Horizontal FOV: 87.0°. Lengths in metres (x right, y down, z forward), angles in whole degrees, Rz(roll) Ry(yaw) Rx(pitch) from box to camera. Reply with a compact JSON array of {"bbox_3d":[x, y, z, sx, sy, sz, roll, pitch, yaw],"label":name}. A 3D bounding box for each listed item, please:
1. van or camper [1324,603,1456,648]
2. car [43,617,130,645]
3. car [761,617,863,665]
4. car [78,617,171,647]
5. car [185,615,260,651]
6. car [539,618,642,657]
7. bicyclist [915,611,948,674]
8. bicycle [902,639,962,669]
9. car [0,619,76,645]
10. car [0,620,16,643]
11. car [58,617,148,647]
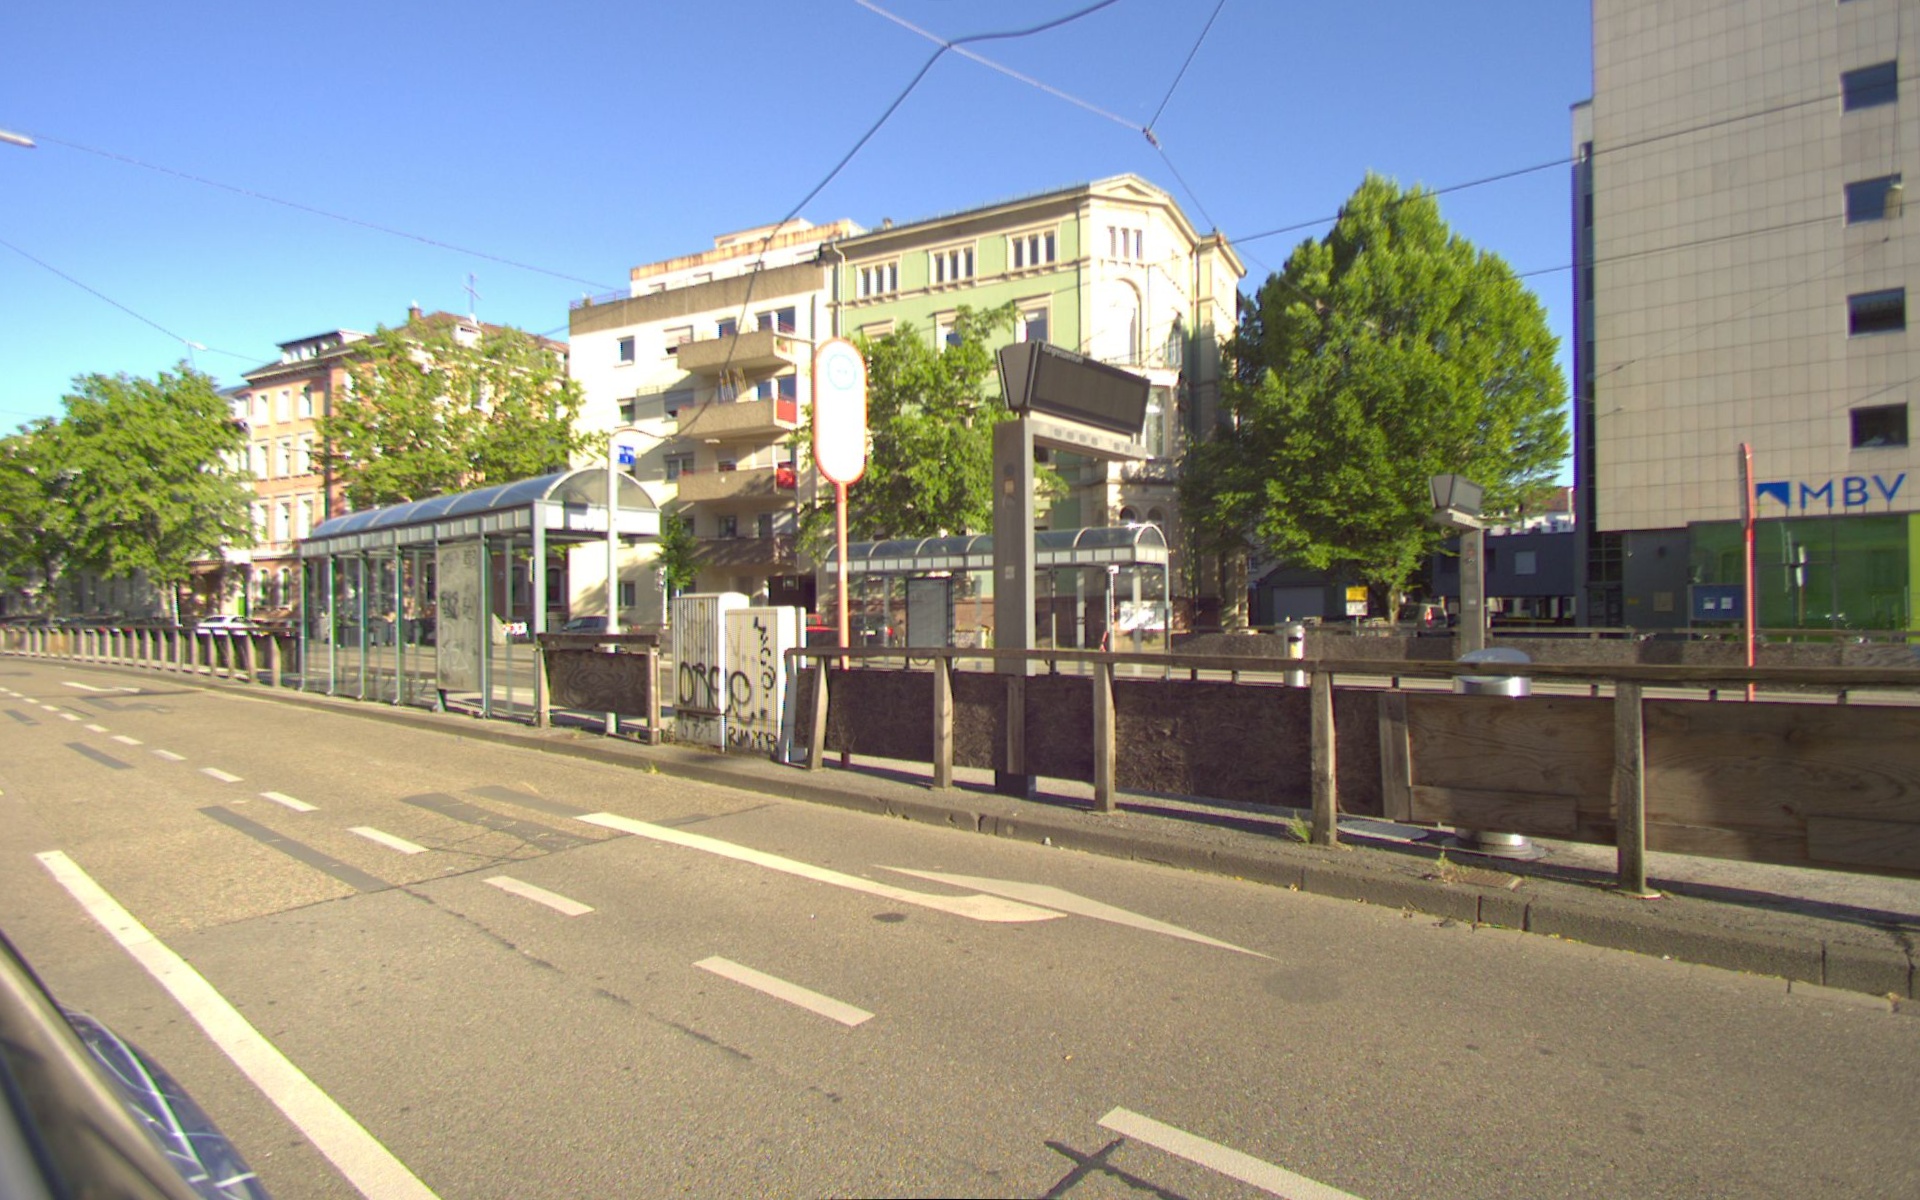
[{"bbox_3d":[15.497,0.887,36.554,3.998,1.417,1.943,2,0,41],"label":"van or camper"},{"bbox_3d":[-54.309,1.929,62.966,2.001,1.697,3.942,-2,-2,44],"label":"car"},{"bbox_3d":[-5.010,1.364,34.697,1.763,1.547,3.763,-1,-2,23],"label":"car"},{"bbox_3d":[-47.984,1.820,58.165,2.001,1.697,3.942,-2,-2,44],"label":"car"},{"bbox_3d":[-39.529,1.749,54.383,1.966,1.736,4.012,0,1,-15],"label":"car"},{"bbox_3d":[-14.011,1.412,38.402,3.498,1.406,1.602,-1,-2,22],"label":"car"},{"bbox_3d":[-0.810,1.204,28.875,0.770,1.774,0.529,-1,-2,41],"label":"bicyclist"},{"bbox_3d":[-0.823,1.534,28.879,1.852,0.793,0.529,-1,-2,41],"label":"bicycle"},{"bbox_3d":[-59.618,2.054,65.278,3.811,1.604,2.001,1,-2,-45],"label":"car"},{"bbox_3d":[-68.107,2.185,70.123,2.001,1.604,3.812,-2,-2,44],"label":"car"},{"bbox_3d":[-51.302,1.883,60.638,2.001,1.697,3.942,-2,-2,44],"label":"car"}]
